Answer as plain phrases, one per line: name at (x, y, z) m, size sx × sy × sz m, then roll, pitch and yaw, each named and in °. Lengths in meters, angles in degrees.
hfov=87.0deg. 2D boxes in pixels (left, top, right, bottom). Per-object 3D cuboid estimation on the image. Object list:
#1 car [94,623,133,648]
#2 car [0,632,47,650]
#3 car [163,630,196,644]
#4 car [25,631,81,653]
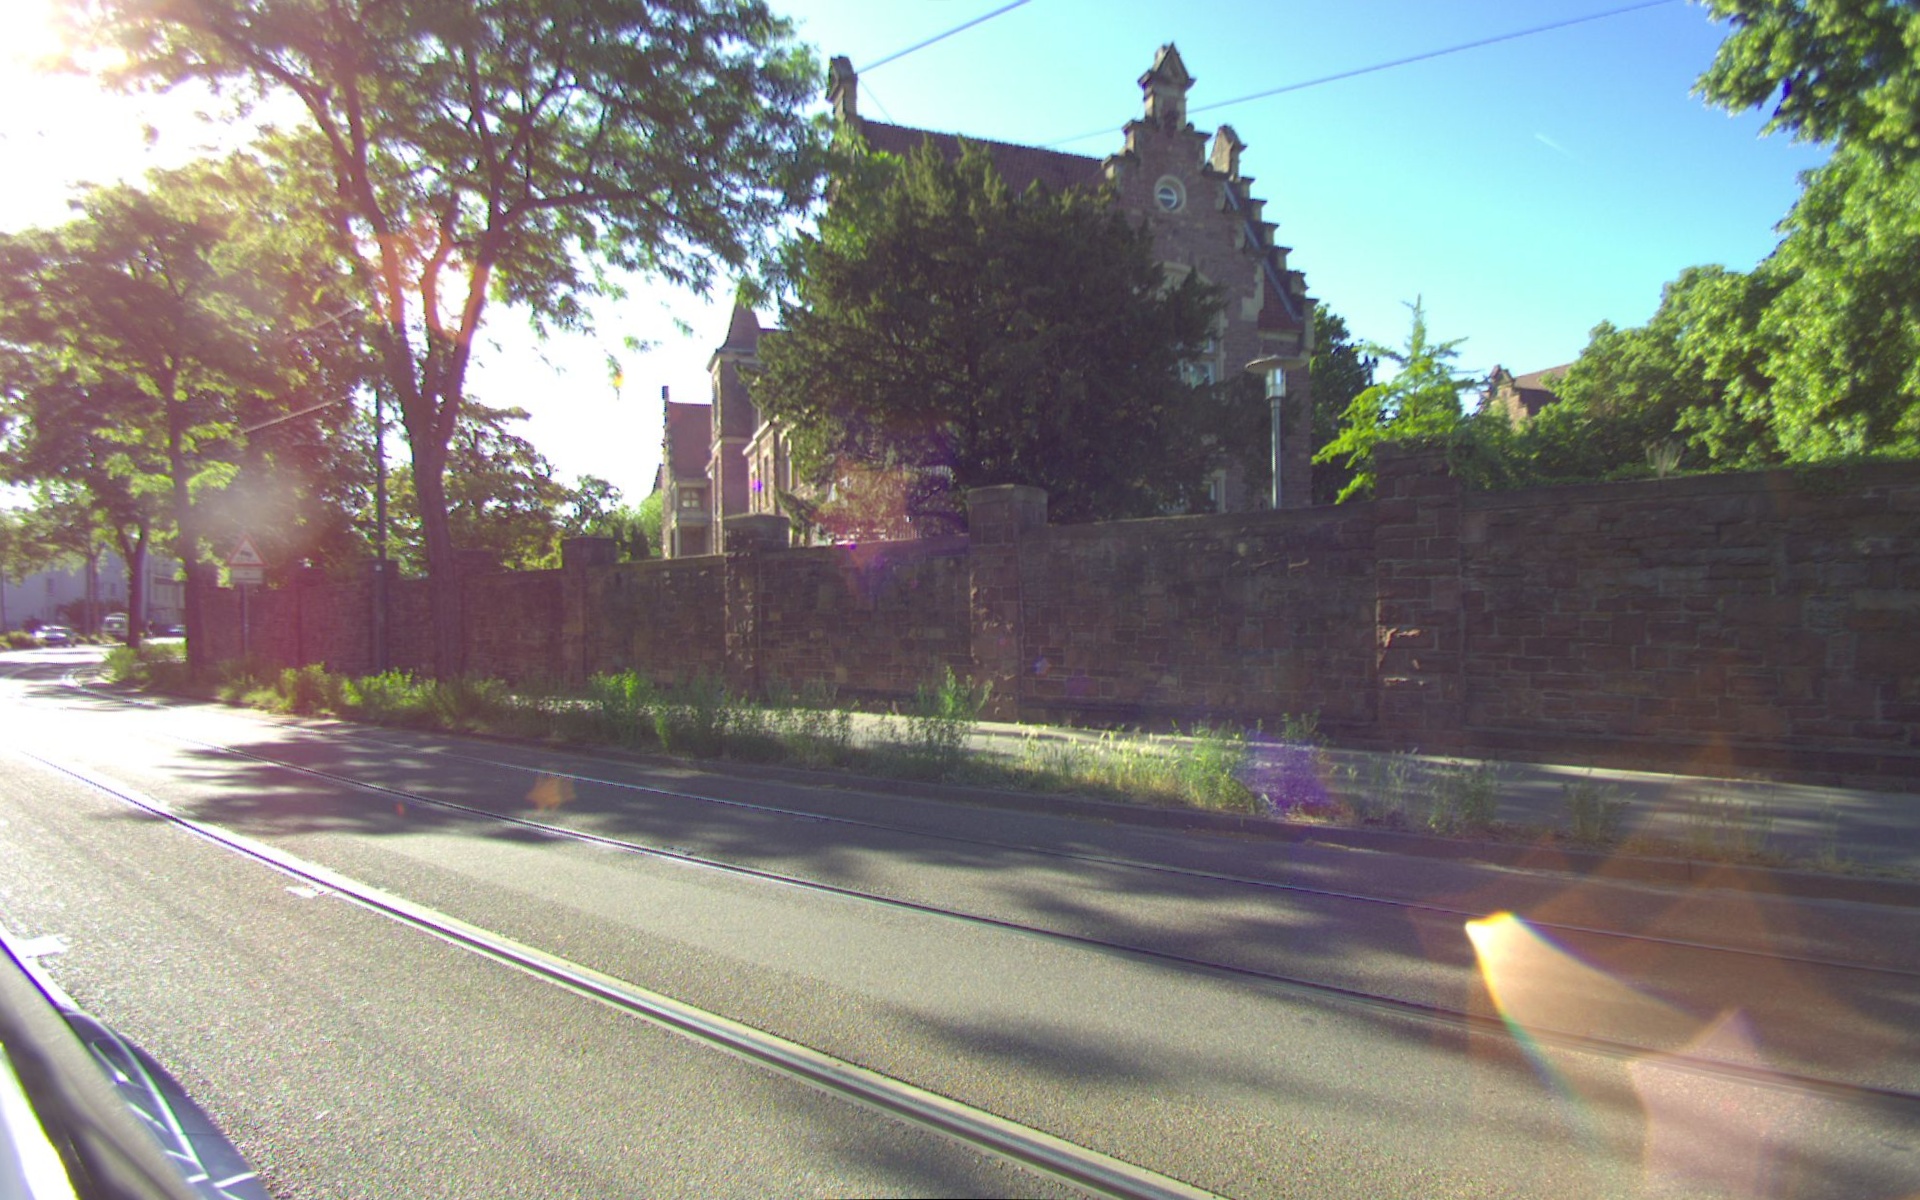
car at (-75.388, 3.144, 90.228) m, size 1.966 × 2.111 × 4.730 m, roll 0°, pitch -2°, yaw -31°
car at (-88.179, 3.844, 94.371) m, size 2.009 × 1.501 × 4.400 m, roll 3°, pitch 1°, yaw 42°
car at (-90.259, 4.214, 117.039) m, size 1.713 × 1.507 × 4.544 m, roll -1°, pitch -1°, yaw -20°
car at (-66.429, 3.051, 74.173) m, size 1.973 × 1.476 × 5.449 m, roll 4°, pitch -3°, yaw -31°
